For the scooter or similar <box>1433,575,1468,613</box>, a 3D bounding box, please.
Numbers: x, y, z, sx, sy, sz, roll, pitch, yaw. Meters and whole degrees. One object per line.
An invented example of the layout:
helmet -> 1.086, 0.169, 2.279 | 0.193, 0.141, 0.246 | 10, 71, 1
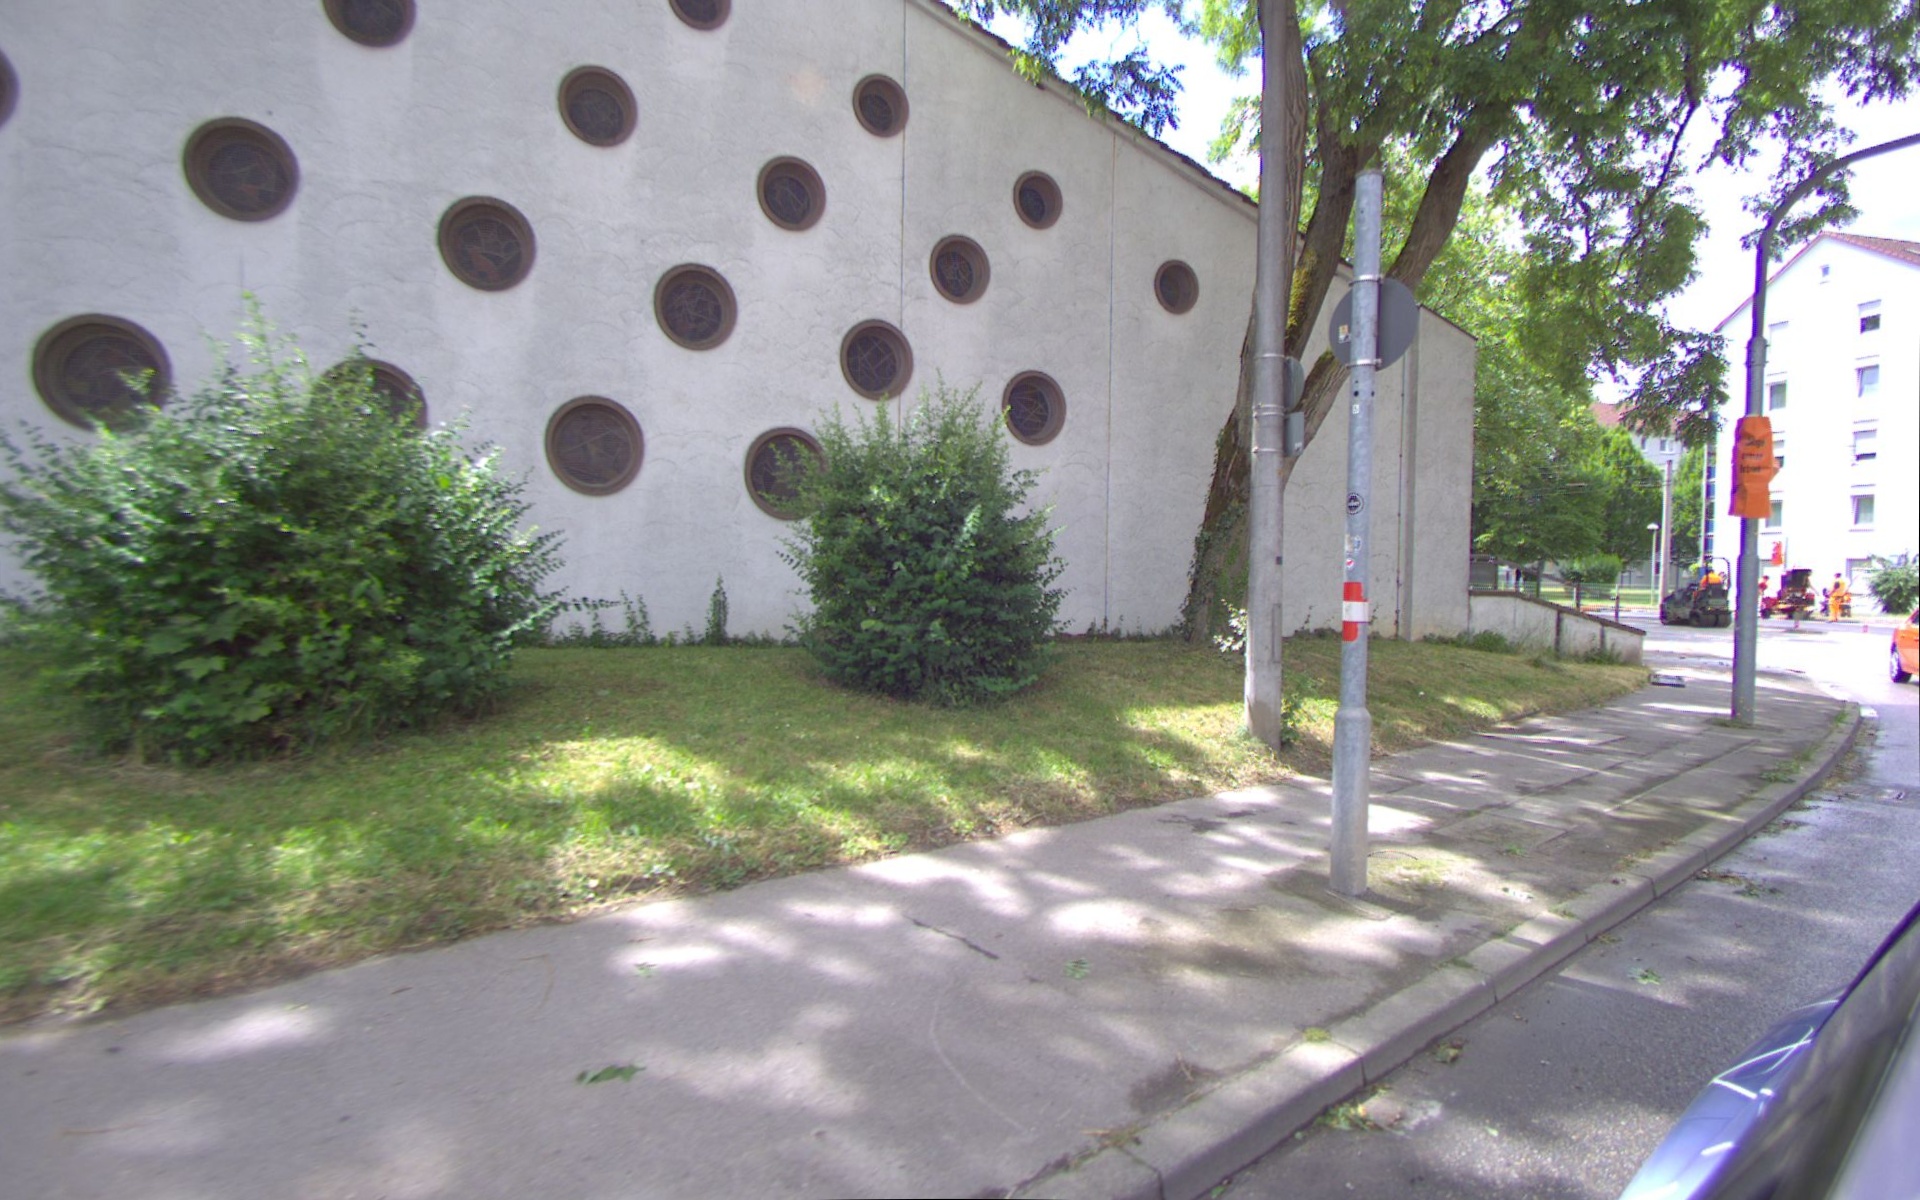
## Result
scooter or similar -> 16.553, -0.213, 34.173 | 0.555, 1.247, 1.195 | 1, 1, 1

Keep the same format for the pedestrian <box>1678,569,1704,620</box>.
pedestrian -> 25.111, -0.201, 34.768 | 0.461, 1.702, 0.560 | -1, 1, -9

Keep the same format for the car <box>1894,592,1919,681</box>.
car -> 16.146, 0.594, 15.580 | 1.755, 1.452, 3.798 | 0, 0, 30

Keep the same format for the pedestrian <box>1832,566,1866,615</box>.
pedestrian -> 35.263, -0.392, 40.146 | 0.874, 1.931, 0.659 | 1, 2, 34

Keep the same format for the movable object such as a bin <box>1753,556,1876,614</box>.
movable object such as a bin -> 32.045, -0.584, 38.058 | 1.961, 2.038, 2.971 | 1, 1, -3

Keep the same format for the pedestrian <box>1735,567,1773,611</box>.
pedestrian -> 31.736, -0.433, 40.450 | 0.738, 1.738, 0.920 | 0, 1, -7

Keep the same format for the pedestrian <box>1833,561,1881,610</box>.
pedestrian -> 34.326, -0.570, 38.740 | 1.073, 1.846, 0.876 | 1, 1, -13

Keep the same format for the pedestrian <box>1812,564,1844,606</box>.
pedestrian -> 35.620, -0.627, 41.537 | 0.874, 1.704, 0.660 | 1, 2, 31

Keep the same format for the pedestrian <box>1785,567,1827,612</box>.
pedestrian -> 32.752, -0.410, 39.194 | 0.843, 1.738, 0.919 | 0, 1, -2

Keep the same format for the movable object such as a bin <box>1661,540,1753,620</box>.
movable object such as a bin -> 25.387, -0.690, 34.455 | 1.295, 2.626, 2.364 | 0, 1, -1

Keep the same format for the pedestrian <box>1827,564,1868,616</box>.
pedestrian -> 32.128, -0.371, 36.642 | 0.767, 1.862, 0.770 | 1, 1, -15

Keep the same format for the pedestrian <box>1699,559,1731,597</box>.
pedestrian -> 25.112, -0.732, 33.654 | 0.540, 1.231, 0.618 | 1, 1, -2
